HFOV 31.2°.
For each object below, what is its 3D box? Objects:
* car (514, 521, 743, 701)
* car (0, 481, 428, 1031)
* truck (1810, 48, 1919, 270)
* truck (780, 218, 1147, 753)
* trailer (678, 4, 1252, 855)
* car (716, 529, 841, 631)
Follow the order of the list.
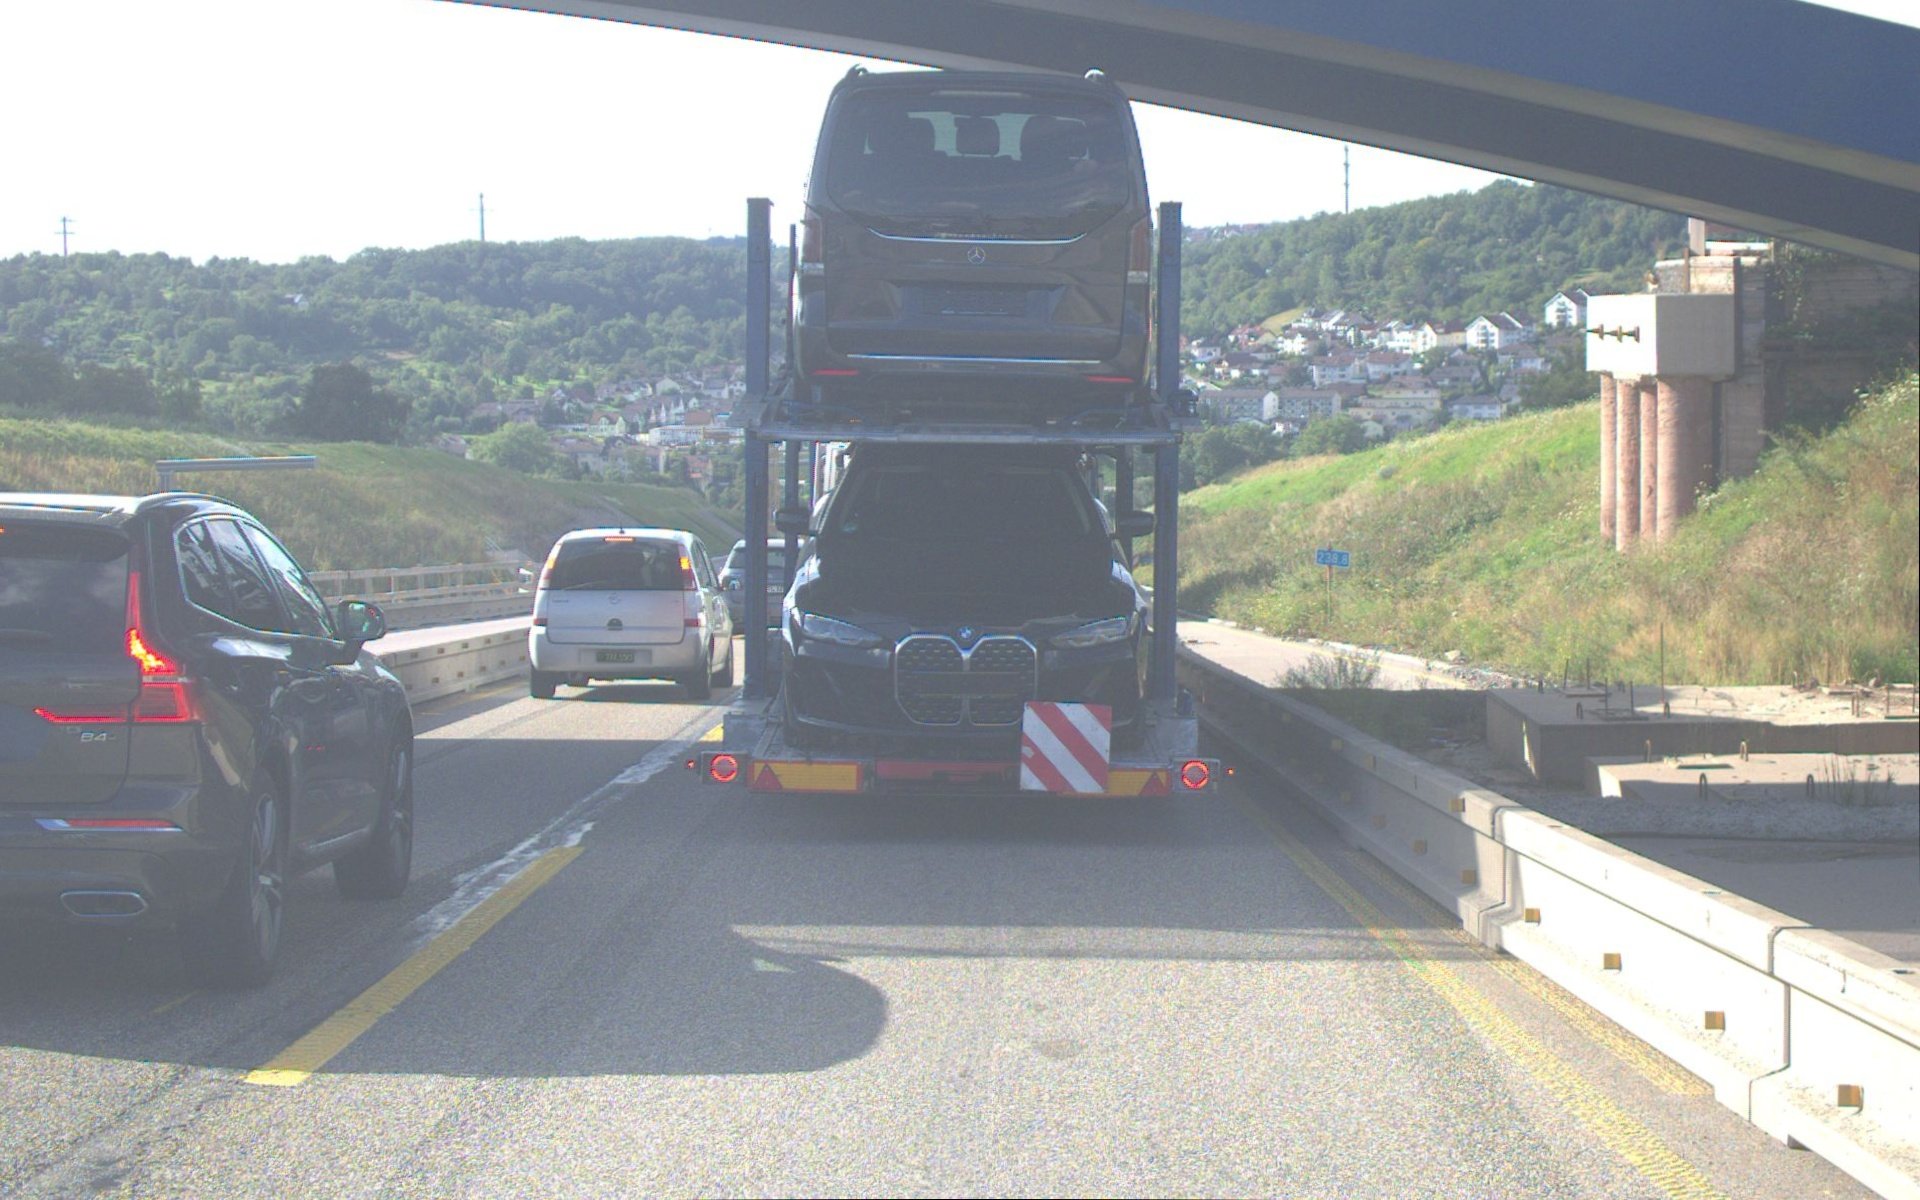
[{"bbox_3d":[-3.107,0.055,33.042,1.796,1.591,4.743,0,1,-1],"label":"car"},{"bbox_3d":[-3.246,0.410,12.490,1.993,1.619,4.750,0,1,-1],"label":"car"},{"bbox_3d":[18.603,-7.014,55.025,9.263,3.217,2.960,0,1,0],"label":"truck"},{"bbox_3d":[-0.008,-0.884,28.142,2.678,3.908,6.028,0,1,-1],"label":"truck"},{"bbox_3d":[-0.022,-0.893,21.948,2.708,4.015,11.420,0,1,0],"label":"trailer"},{"bbox_3d":[-2.813,-0.349,54.120,1.796,1.525,4.296,0,1,-1],"label":"car"}]
